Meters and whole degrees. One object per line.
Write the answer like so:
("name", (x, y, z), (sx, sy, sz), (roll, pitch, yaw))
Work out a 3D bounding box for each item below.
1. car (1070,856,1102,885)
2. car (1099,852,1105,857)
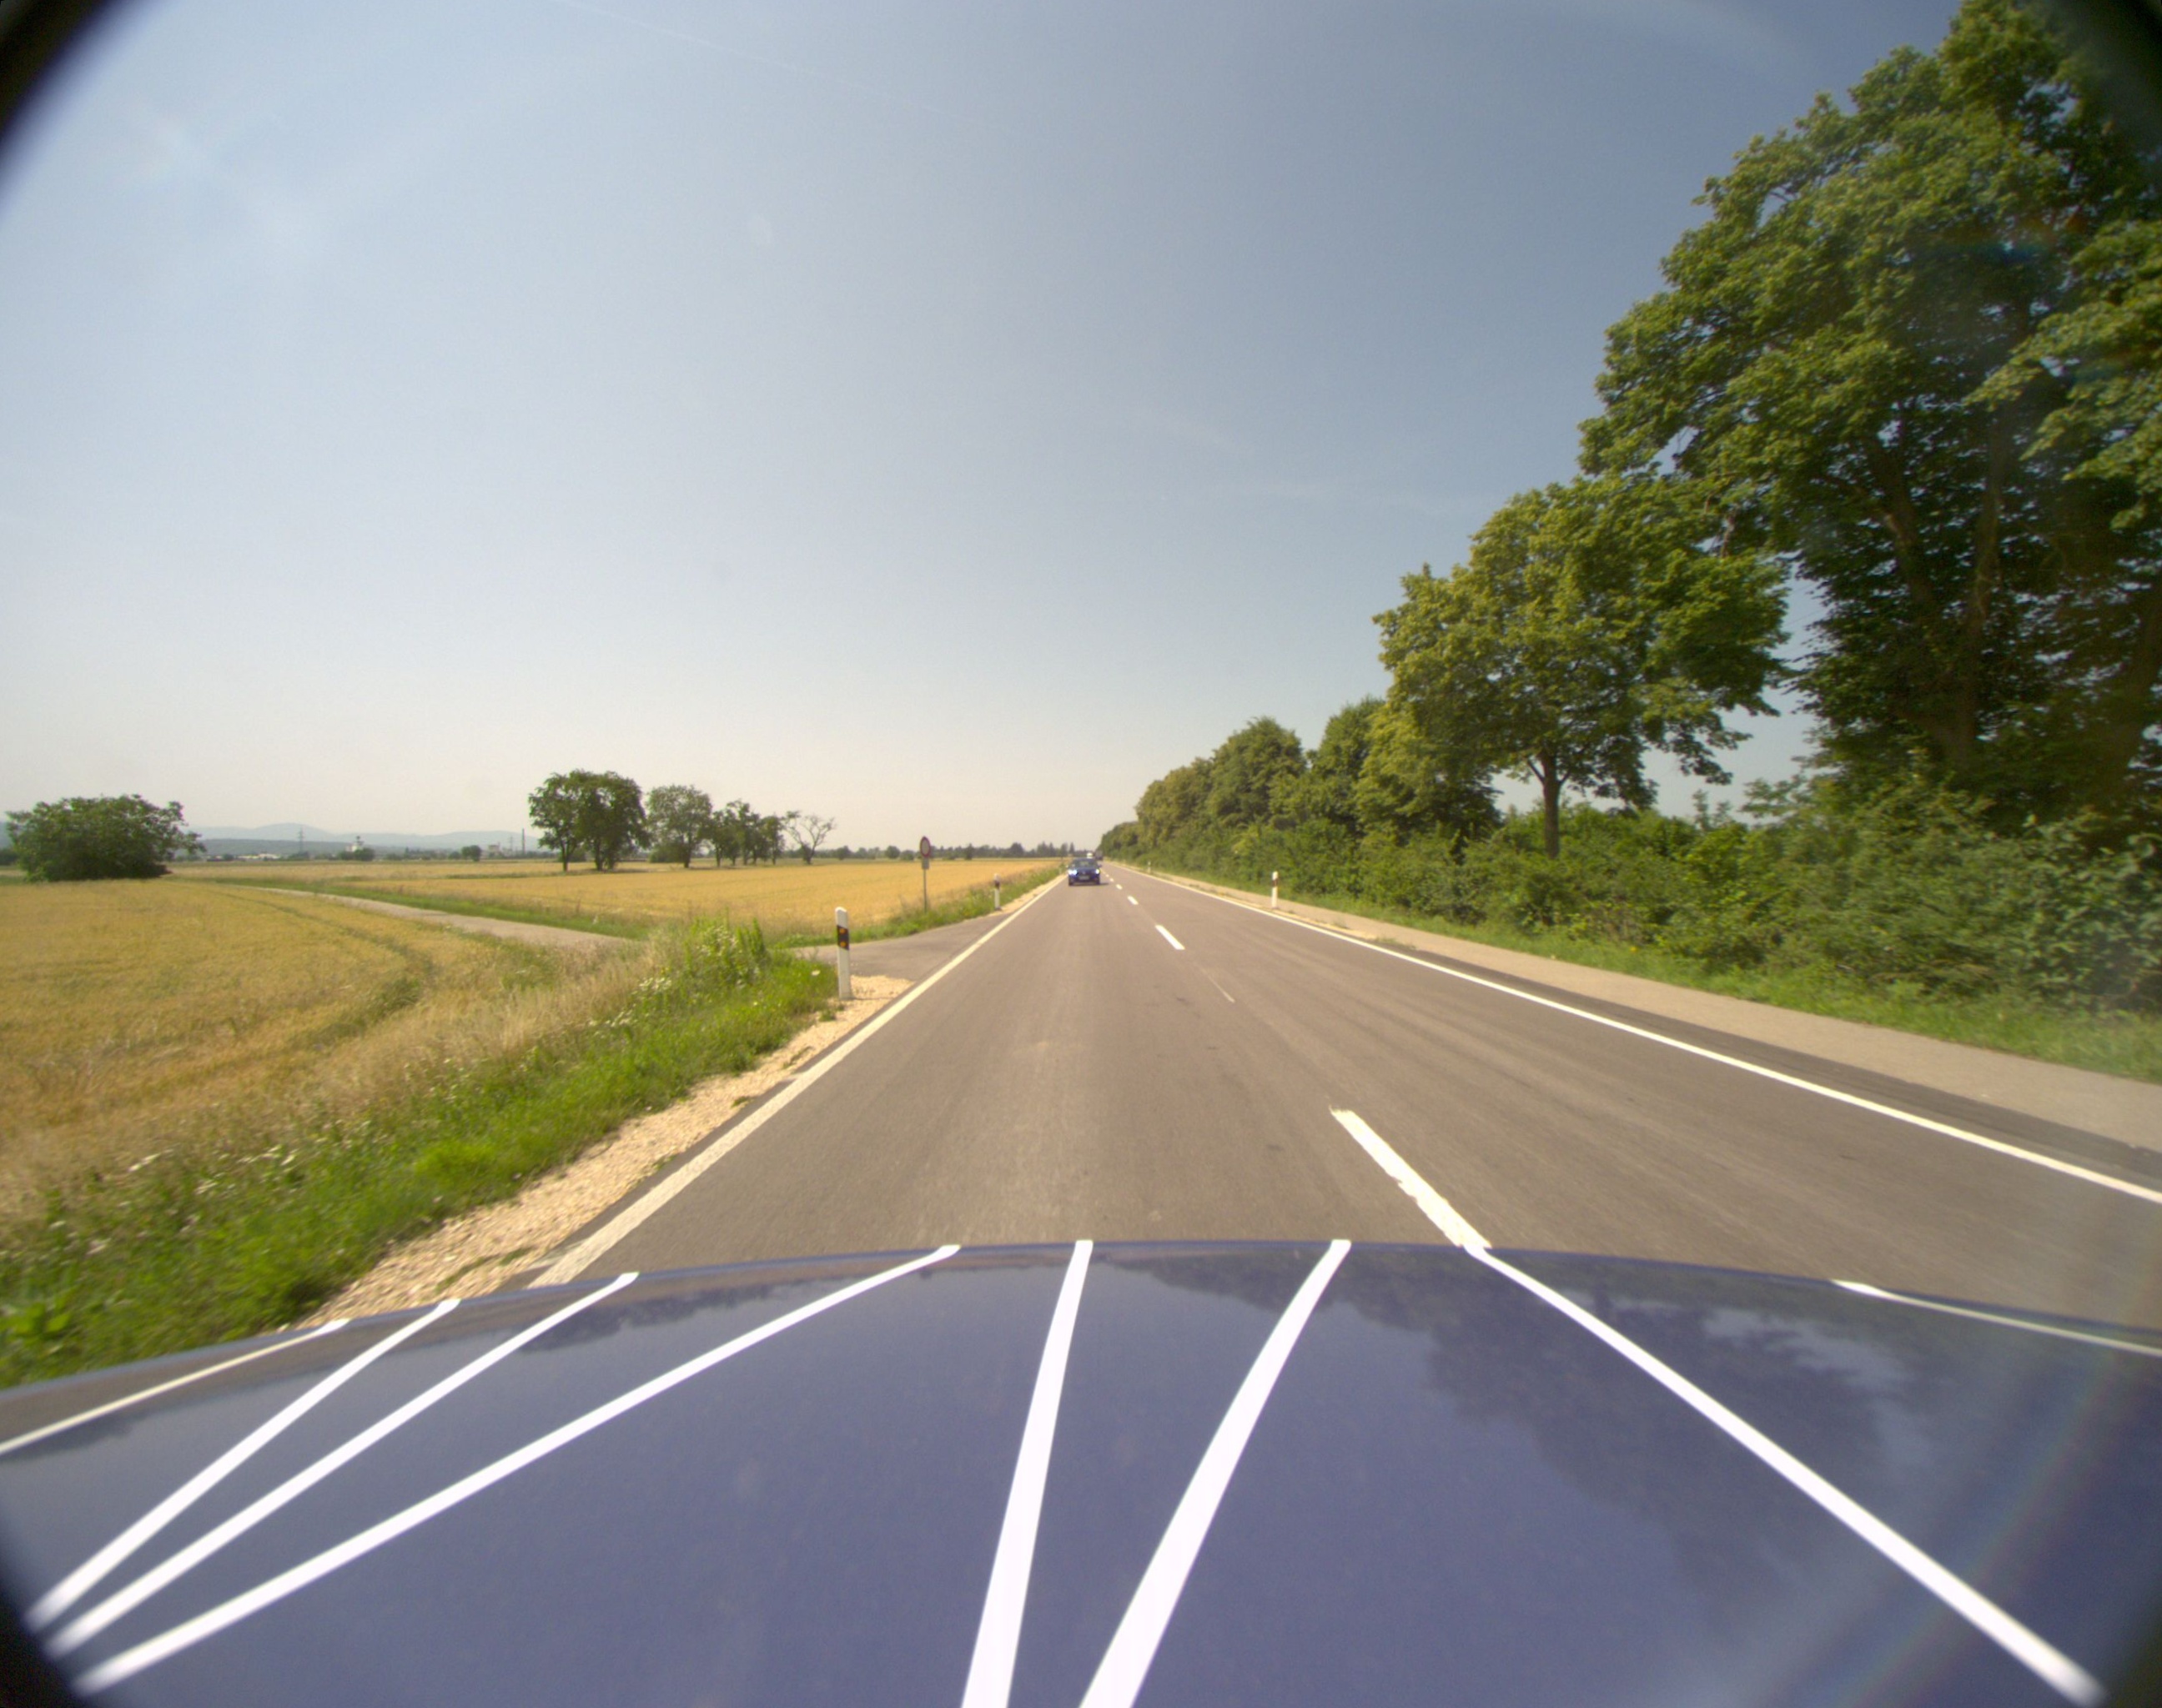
("car", (0.261, 0.887, 42.654), (1.662, 1.508, 4.000), (-2, 0, 0))
("car", (6.783, 0.262, 246.179), (1.796, 1.565, 4.479), (0, 0, 0))
